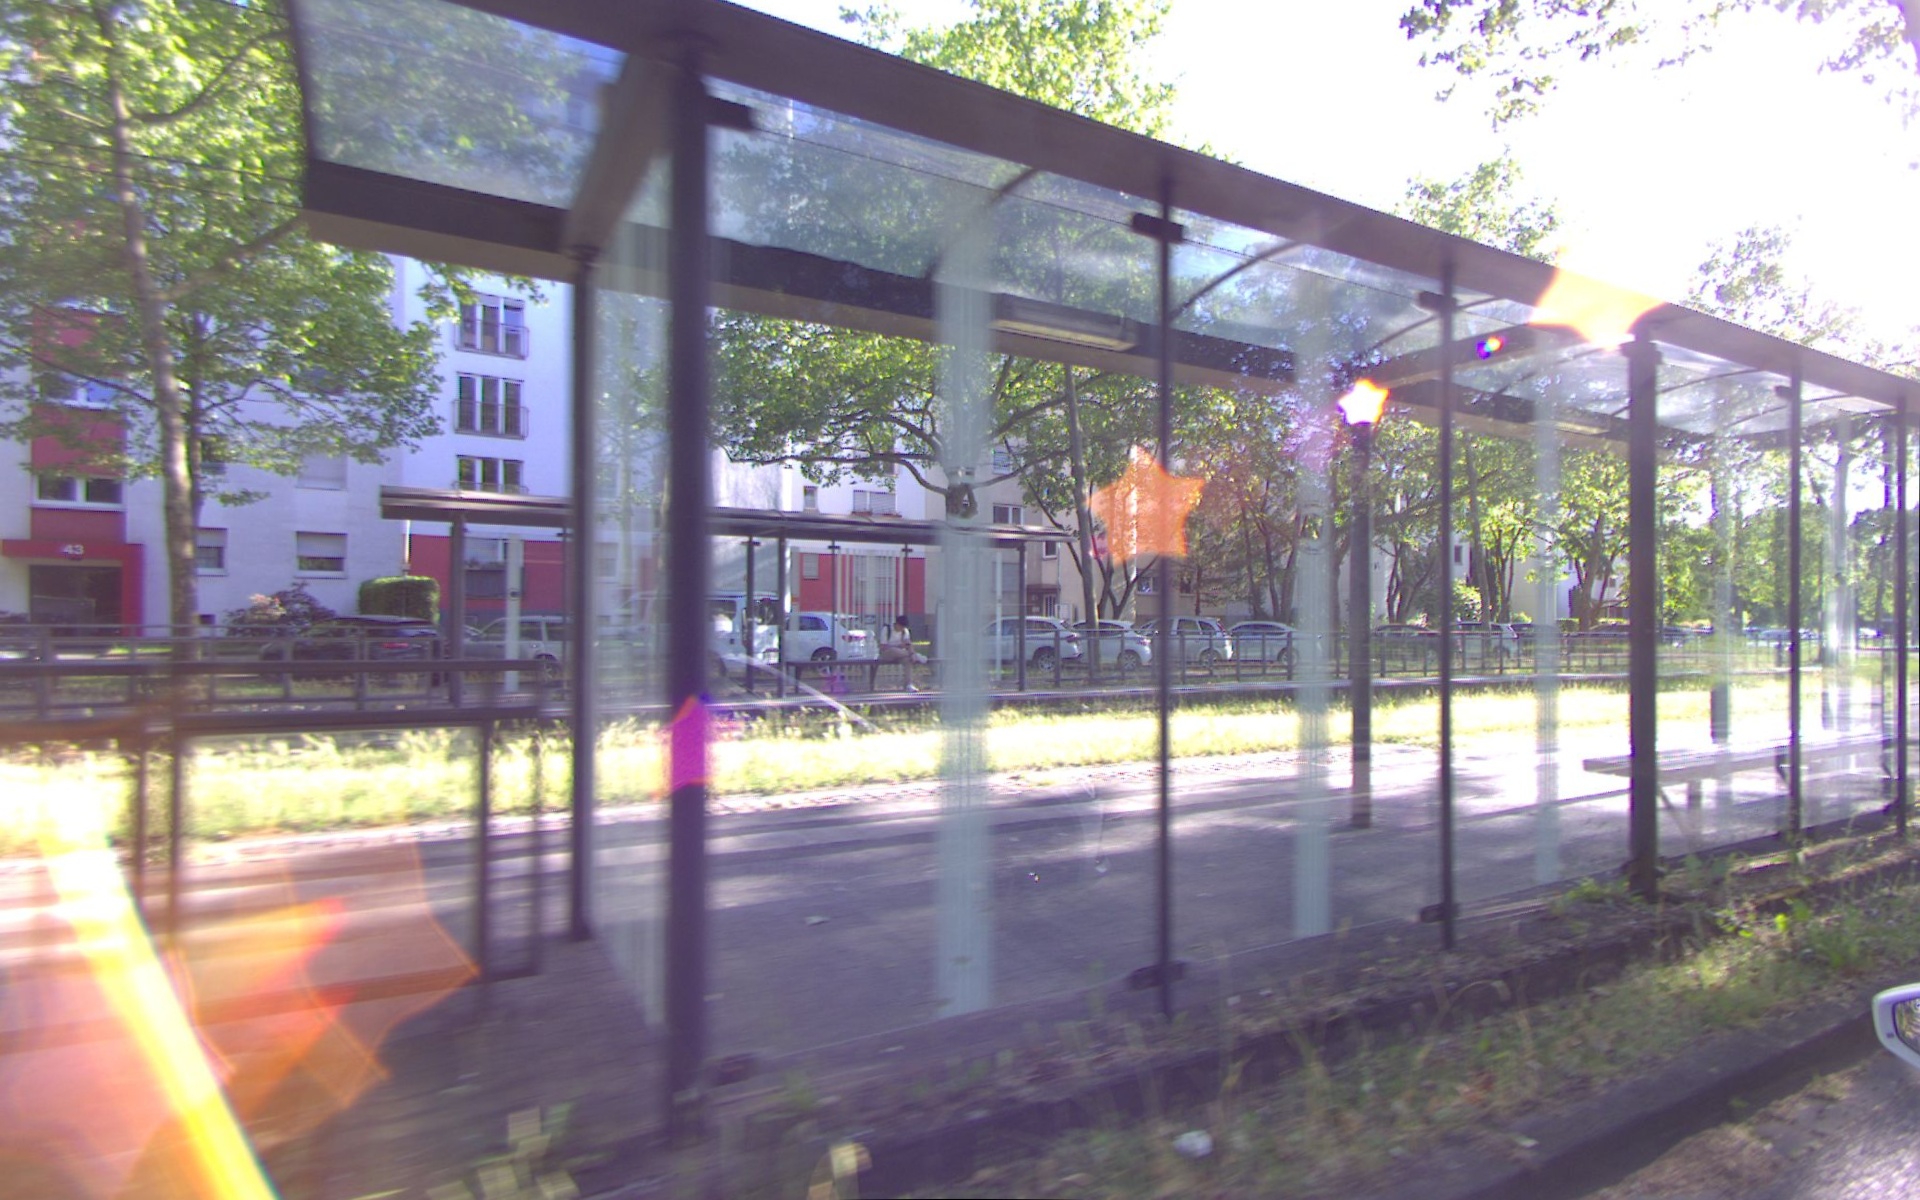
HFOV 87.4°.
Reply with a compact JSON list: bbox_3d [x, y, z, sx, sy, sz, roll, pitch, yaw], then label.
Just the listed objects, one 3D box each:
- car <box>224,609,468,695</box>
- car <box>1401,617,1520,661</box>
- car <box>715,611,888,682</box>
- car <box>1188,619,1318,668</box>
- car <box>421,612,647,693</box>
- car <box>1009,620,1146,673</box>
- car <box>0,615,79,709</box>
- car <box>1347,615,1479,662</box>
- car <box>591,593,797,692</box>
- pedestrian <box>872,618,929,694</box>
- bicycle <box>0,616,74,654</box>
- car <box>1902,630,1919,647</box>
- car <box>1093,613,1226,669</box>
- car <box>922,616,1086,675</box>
[{"bbox_3d":[-12.654,1.004,20.733,4.410,1.518,1.900,1,1,18],"label":"car"},{"bbox_3d":[19.305,1.488,38.880,3.914,1.565,1.646,0,1,19],"label":"car"},{"bbox_3d":[-3.994,1.132,25.384,3.978,1.632,1.690,0,1,16],"label":"car"},{"bbox_3d":[9.569,1.406,33.058,3.977,1.493,1.577,0,1,12],"label":"car"},{"bbox_3d":[-9.336,1.091,22.062,4.410,1.518,1.900,1,1,18],"label":"car"},{"bbox_3d":[3.547,1.370,30.121,3.977,1.452,1.577,0,1,12],"label":"car"},{"bbox_3d":[-17.434,1.005,17.311,4.118,1.447,1.699,1,1,22],"label":"car"},{"bbox_3d":[16.343,1.371,36.451,4.090,1.565,1.647,0,1,12],"label":"car"},{"bbox_3d":[-6.228,0.919,23.533,4.412,2.091,1.899,1,1,22],"label":"car"},{"bbox_3d":[-0.926,0.873,15.592,0.654,1.142,0.692,1,-4,-29],"label":"pedestrian"},{"bbox_3d":[-24.915,0.907,26.235,2.568,0.940,0.691,0,1,-34],"label":"bicycle"},{"bbox_3d":[93.054,3.665,95.790,1.866,1.632,4.492,0,-2,-11],"label":"car"},{"bbox_3d":[6.254,1.258,31.613,3.977,1.590,1.576,0,2,12],"label":"car"},{"bbox_3d":[1.297,1.250,28.558,4.408,1.524,1.901,0,0,12],"label":"car"}]
